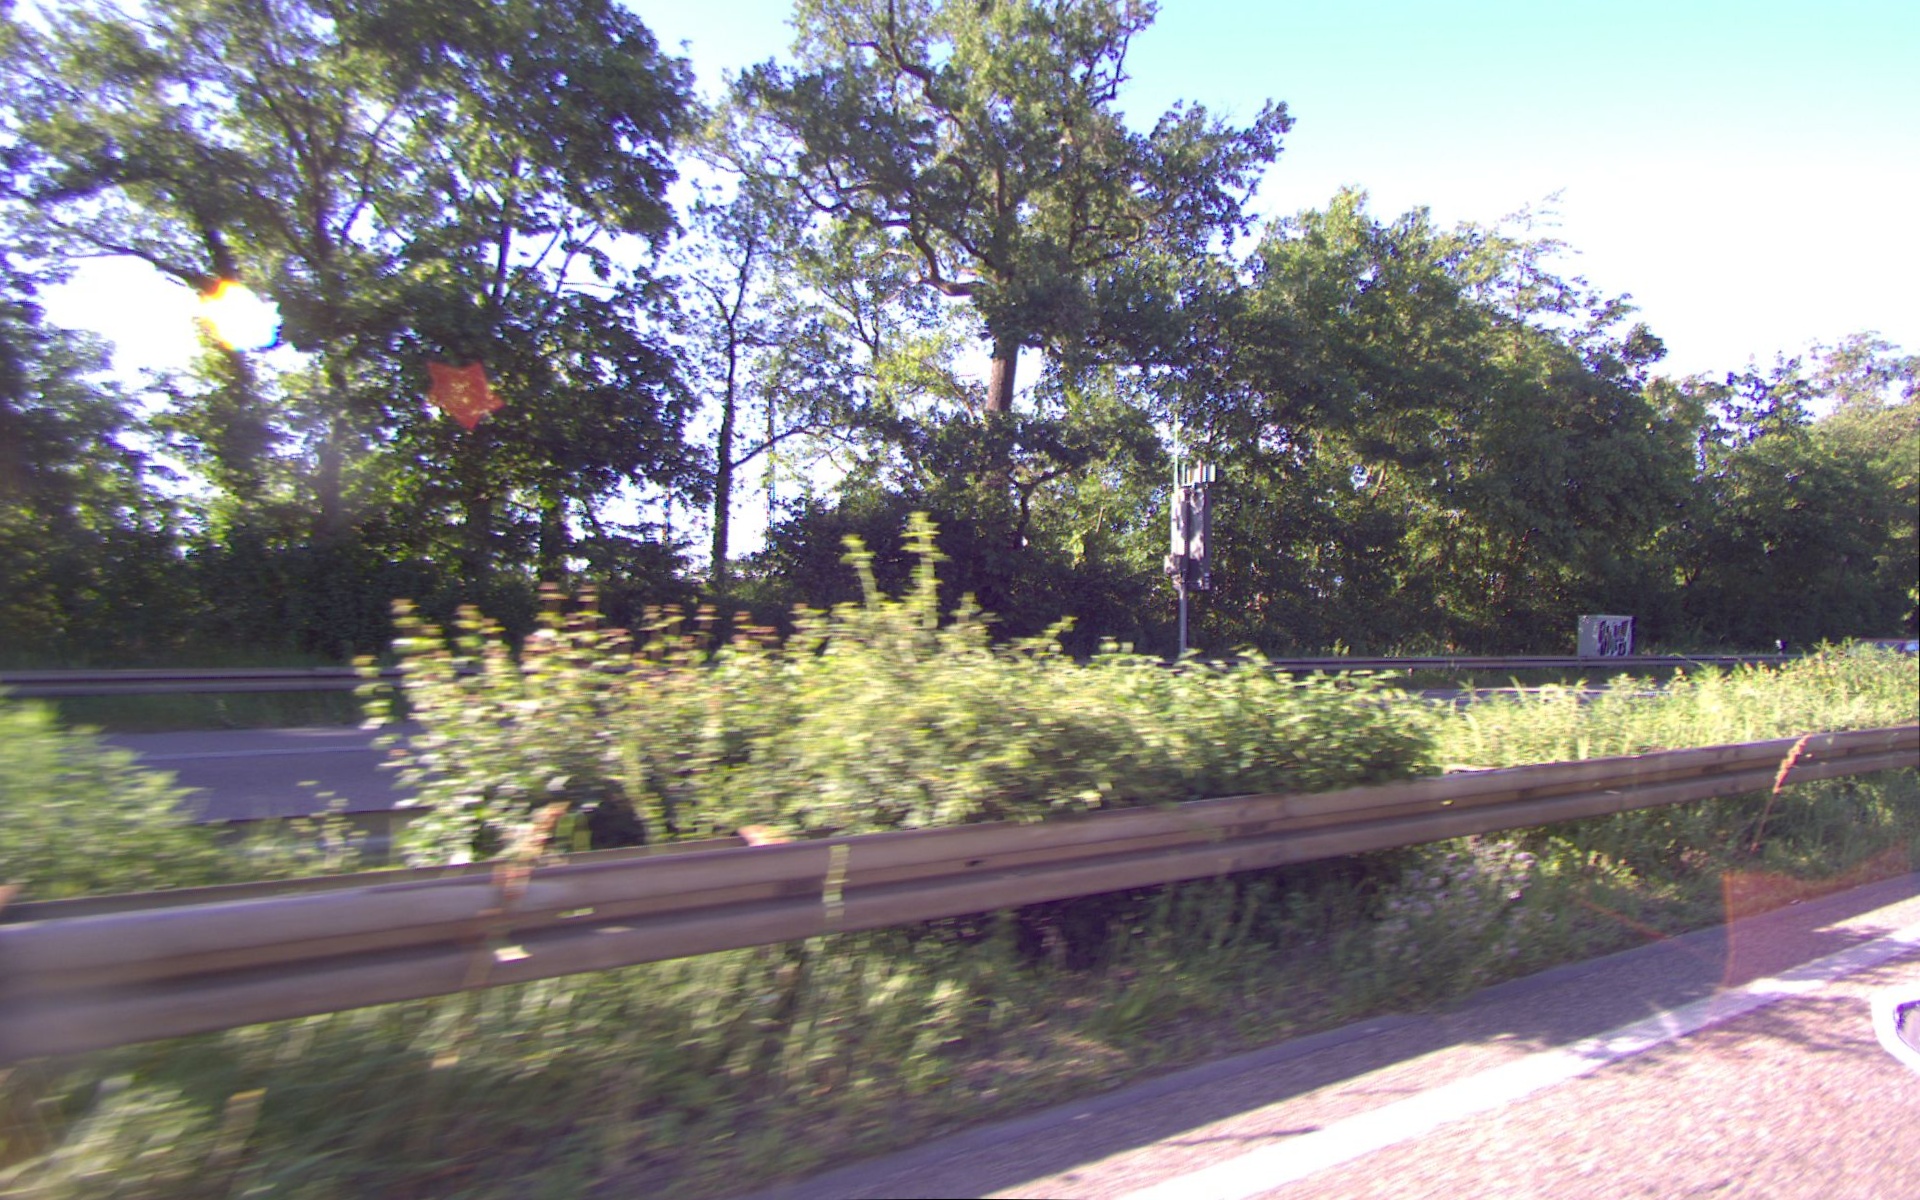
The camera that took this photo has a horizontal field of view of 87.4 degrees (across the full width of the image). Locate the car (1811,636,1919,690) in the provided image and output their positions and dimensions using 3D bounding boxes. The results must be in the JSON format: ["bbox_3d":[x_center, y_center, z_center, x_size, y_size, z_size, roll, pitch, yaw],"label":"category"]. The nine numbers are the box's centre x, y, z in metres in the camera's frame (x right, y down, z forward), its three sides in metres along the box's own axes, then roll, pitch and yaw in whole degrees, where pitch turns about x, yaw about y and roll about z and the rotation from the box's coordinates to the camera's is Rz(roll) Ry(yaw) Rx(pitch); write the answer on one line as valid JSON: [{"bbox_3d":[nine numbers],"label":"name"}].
[{"bbox_3d":[26.546,1.783,29.037,4.084,1.443,1.701,1,-1,-30],"label":"car"}]
